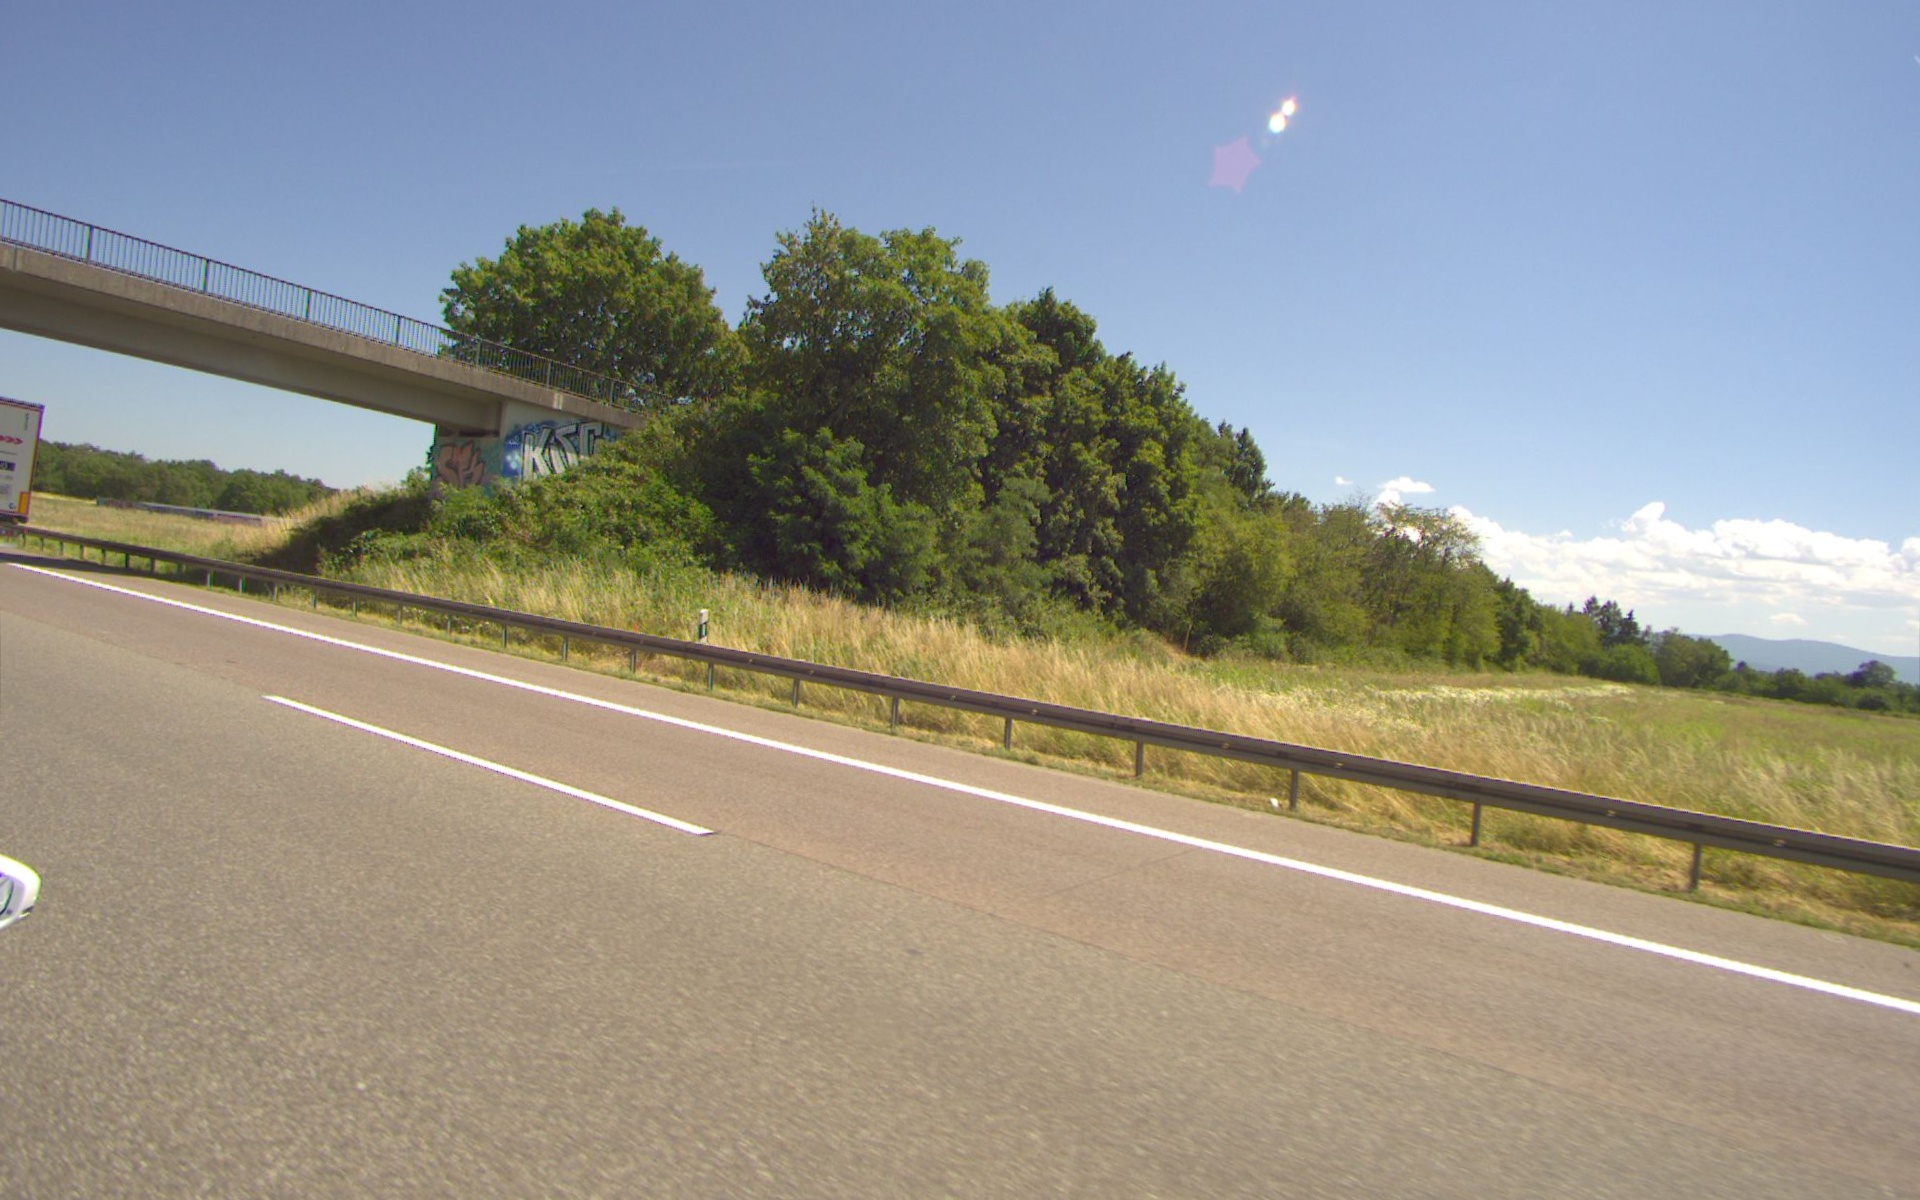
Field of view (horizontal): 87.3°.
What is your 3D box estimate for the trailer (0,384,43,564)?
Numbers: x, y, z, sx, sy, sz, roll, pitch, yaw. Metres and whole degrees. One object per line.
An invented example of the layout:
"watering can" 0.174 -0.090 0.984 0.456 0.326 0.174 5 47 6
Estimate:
"trailer" -29.538 -3.800 27.695 13.417 4.301 2.600 6 -1 33
